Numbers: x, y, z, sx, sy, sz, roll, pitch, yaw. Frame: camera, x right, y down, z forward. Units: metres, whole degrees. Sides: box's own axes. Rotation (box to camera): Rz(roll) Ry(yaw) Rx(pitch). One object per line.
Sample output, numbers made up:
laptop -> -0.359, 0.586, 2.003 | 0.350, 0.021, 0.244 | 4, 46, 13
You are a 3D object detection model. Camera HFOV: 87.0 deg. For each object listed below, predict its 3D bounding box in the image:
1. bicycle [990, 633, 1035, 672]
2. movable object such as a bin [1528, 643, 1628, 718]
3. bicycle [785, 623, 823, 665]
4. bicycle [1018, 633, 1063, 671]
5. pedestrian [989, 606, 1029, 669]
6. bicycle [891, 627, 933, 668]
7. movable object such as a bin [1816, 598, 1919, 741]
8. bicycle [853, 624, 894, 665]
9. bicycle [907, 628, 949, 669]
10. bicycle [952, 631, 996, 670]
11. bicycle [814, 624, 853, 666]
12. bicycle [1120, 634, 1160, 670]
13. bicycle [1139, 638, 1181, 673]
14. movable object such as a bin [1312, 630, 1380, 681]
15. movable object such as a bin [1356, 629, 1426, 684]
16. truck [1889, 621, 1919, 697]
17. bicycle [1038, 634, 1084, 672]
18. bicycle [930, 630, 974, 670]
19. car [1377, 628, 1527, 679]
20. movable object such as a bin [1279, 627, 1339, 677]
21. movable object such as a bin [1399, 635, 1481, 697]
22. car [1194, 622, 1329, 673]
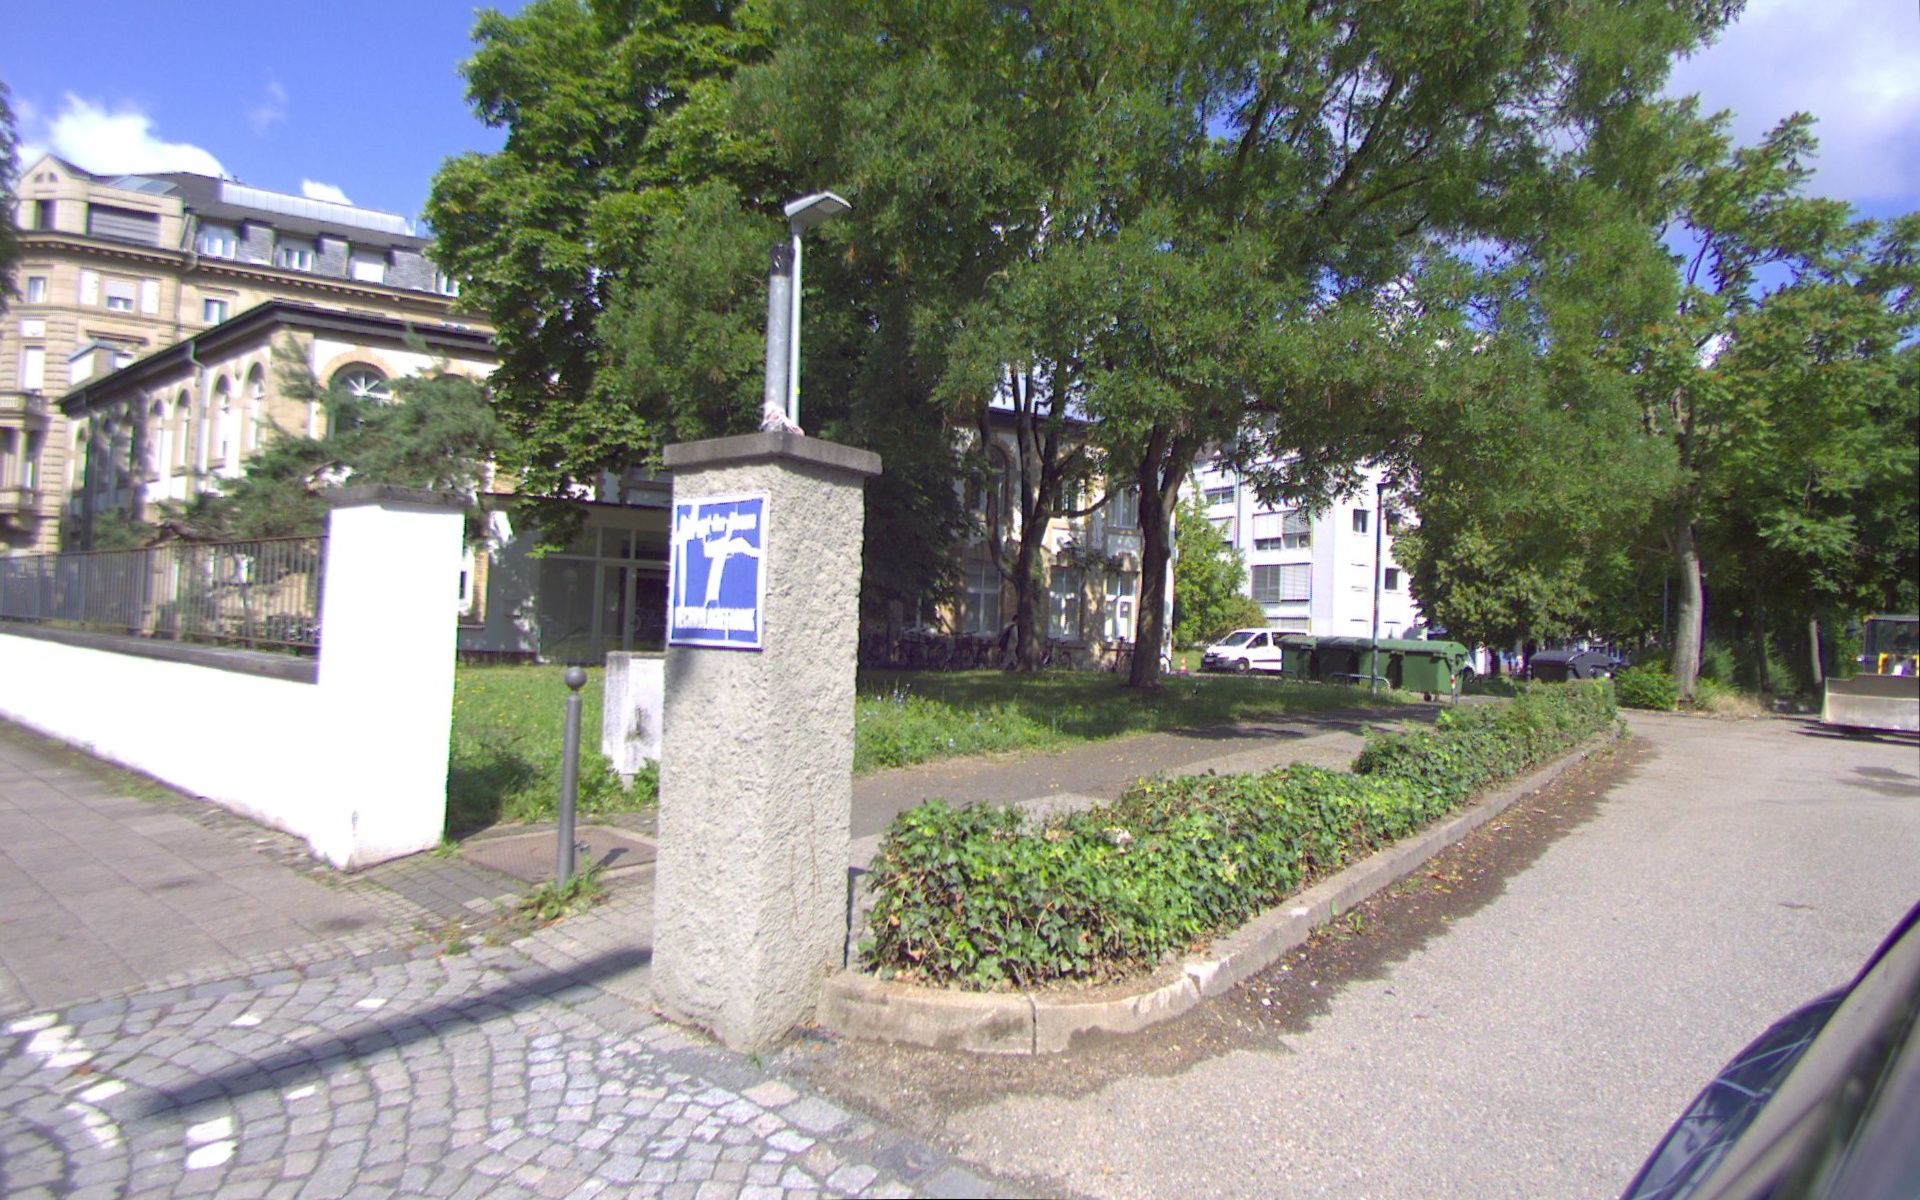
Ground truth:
bicycle -> 1.498, 1.493, 29.084 | 0.418, 1.000, 1.823 | 4, -2, -25
movable object such as a bin -> 12.403, 1.597, 20.357 | 1.107, 1.374, 1.325 | 2, -1, -6
bicycle -> -4.127, 1.130, 26.625 | 0.418, 1.000, 1.823 | 4, -2, -25
bicycle -> 2.340, 1.506, 29.563 | 0.418, 1.000, 1.823 | 4, -2, -25
pedestrian -> 1.303, 0.988, 26.773 | 0.841, 1.644, 0.570 | 3, -2, -28
bicycle -> -1.334, 1.285, 27.658 | 0.418, 1.000, 1.823 | 4, -2, -25
movable object such as a bin -> 18.759, 1.323, 20.004 | 5.338, 2.474, 1.997 | 2, 0, -42
bicycle -> -2.348, 1.194, 27.302 | 0.418, 1.000, 1.823 | 4, -2, -25
bicycle -> -0.897, 1.327, 27.963 | 0.418, 1.000, 1.823 | 4, -2, -25
bicycle -> 0.377, 1.418, 28.660 | 0.418, 1.000, 1.823 | 4, -2, -25
bicycle -> -3.367, 1.180, 26.862 | 0.418, 1.000, 1.823 | 4, -2, -25
bicycle -> 5.500, 1.592, 30.972 | 0.418, 1.000, 1.461 | 4, -2, -24
bicycle -> 6.159, 1.699, 31.215 | 0.418, 1.000, 1.461 | 4, -2, -25
movable object such as a bin -> 10.098, 1.442, 26.499 | 1.007, 1.236, 1.275 | 2, -1, -28
movable object such as a bin -> 10.714, 1.388, 25.181 | 0.979, 1.282, 1.258 | 2, -1, -28
truck -> 38.471, 2.277, 36.899 | 1.964, 2.813, 6.552 | 0, 0, -38
bicycle -> 2.963, 1.560, 29.895 | 0.418, 1.000, 1.823 | 4, -2, -25
bicycle -> -0.236, 1.379, 28.272 | 0.418, 1.000, 1.823 | 4, -2, -25
car -> 16.456, 1.792, 33.830 | 4.987, 1.516, 1.813 | 3, -2, -26
movable object such as a bin -> 9.577, 1.412, 27.772 | 0.983, 1.310, 1.193 | 2, -1, -28
movable object such as a bin -> 11.346, 1.542, 23.936 | 1.071, 1.370, 1.368 | 2, -1, -28
car -> 12.218, 1.926, 41.013 | 4.985, 1.887, 2.043 | 3, -2, -20
